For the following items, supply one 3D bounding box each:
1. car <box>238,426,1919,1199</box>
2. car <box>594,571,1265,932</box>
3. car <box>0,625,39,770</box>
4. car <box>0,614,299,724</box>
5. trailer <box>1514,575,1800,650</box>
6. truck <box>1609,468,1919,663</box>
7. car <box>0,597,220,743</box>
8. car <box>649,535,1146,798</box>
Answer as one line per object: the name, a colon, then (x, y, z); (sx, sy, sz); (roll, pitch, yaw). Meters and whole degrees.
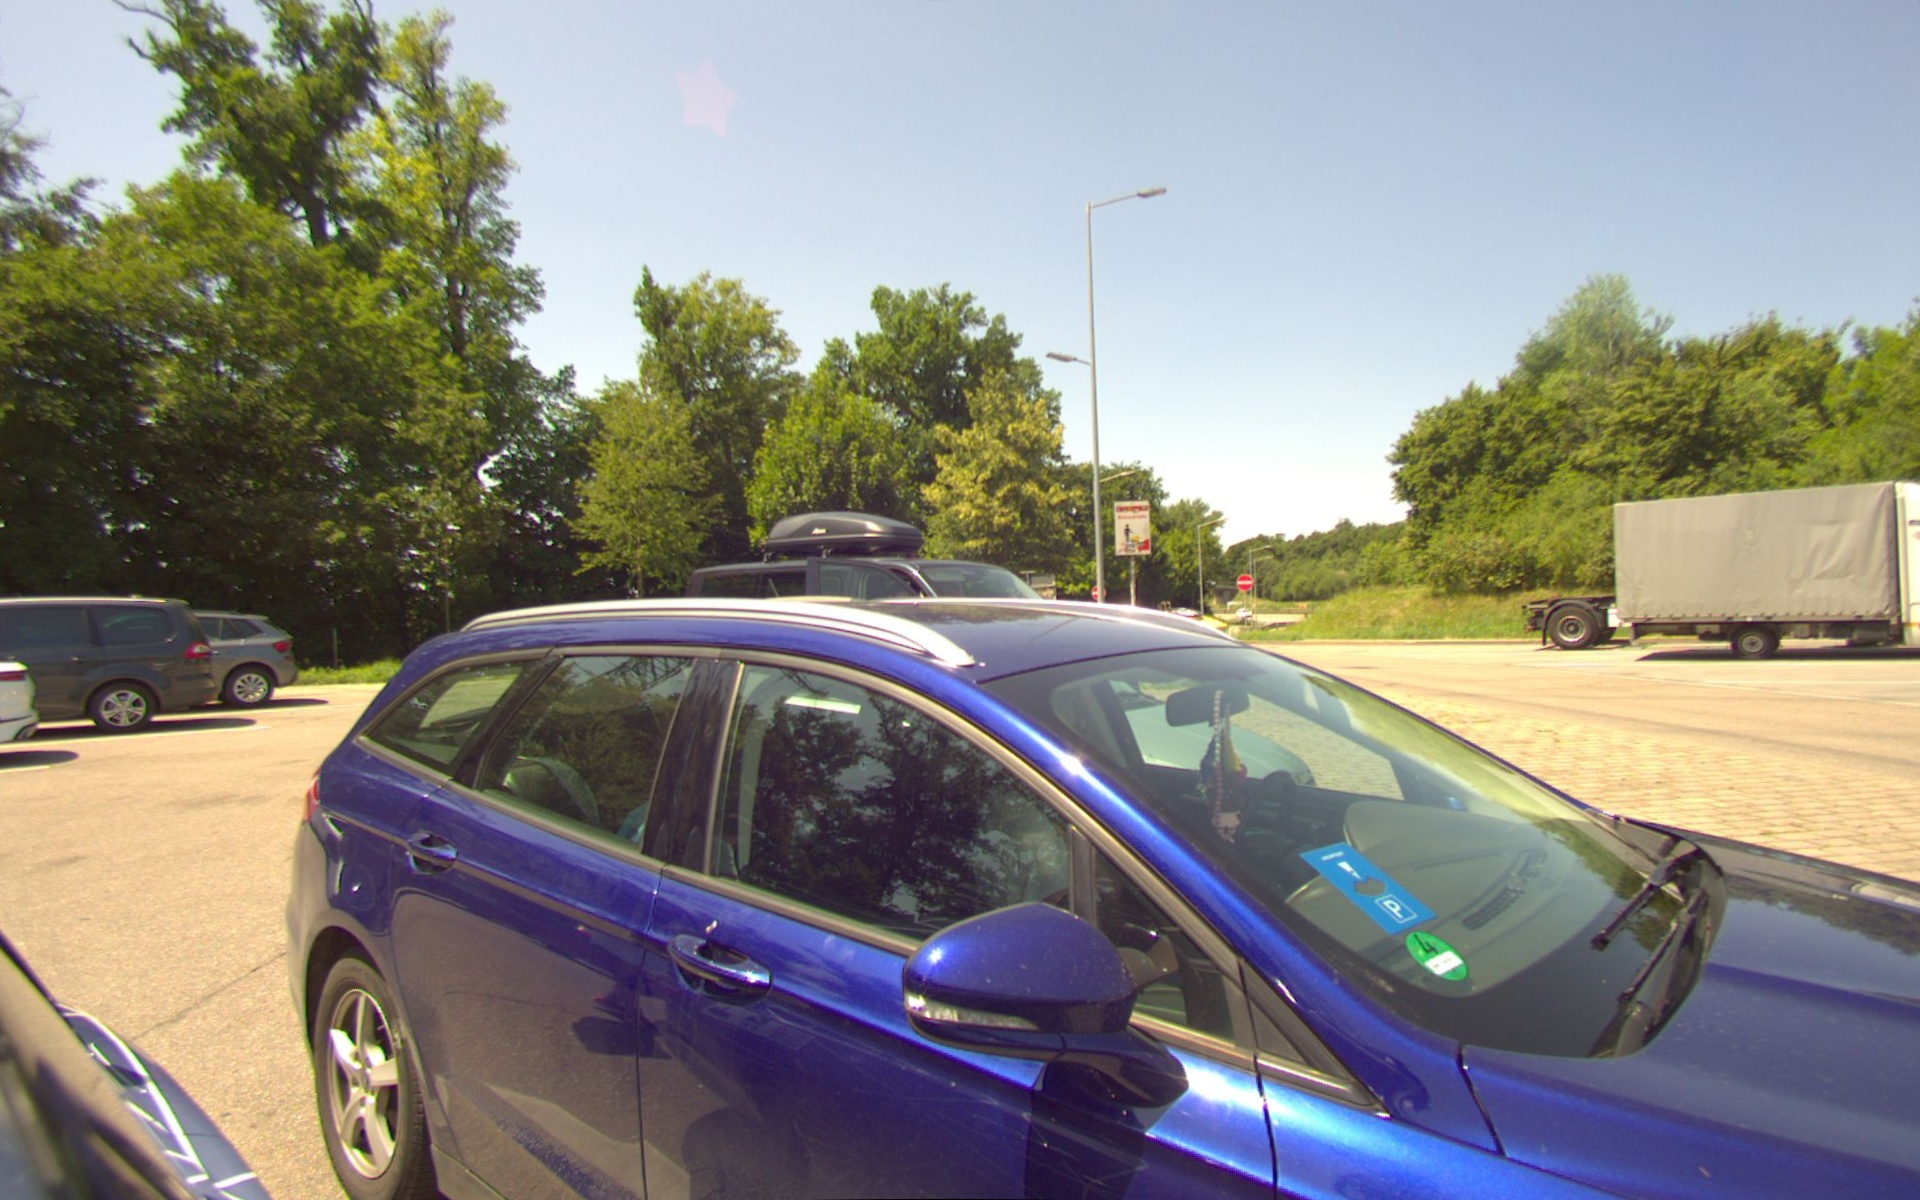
car: (0.228, 0.654, 2.104); (4.427, 1.455, 1.763); (-2, -1, 40)
car: (-0.376, 0.653, 5.825); (3.739, 1.424, 1.587); (-2, -1, 40)
car: (-10.971, 0.949, 9.218); (3.753, 1.377, 1.804); (0, -1, -45)
car: (-12.621, 0.978, 15.646); (3.753, 1.488, 1.743); (0, -1, -45)
trailer: (16.320, 0.346, 23.937); (5.393, 1.608, 1.576); (-2, -1, 41)
truck: (16.699, -0.619, 18.864); (7.308, 3.258, 2.294); (-5, -2, 43)
car: (-11.725, 0.842, 12.606); (3.830, 1.703, 1.883); (0, -2, -45)
car: (-0.743, 0.537, 9.436); (4.427, 1.875, 2.022); (-2, -1, 40)
